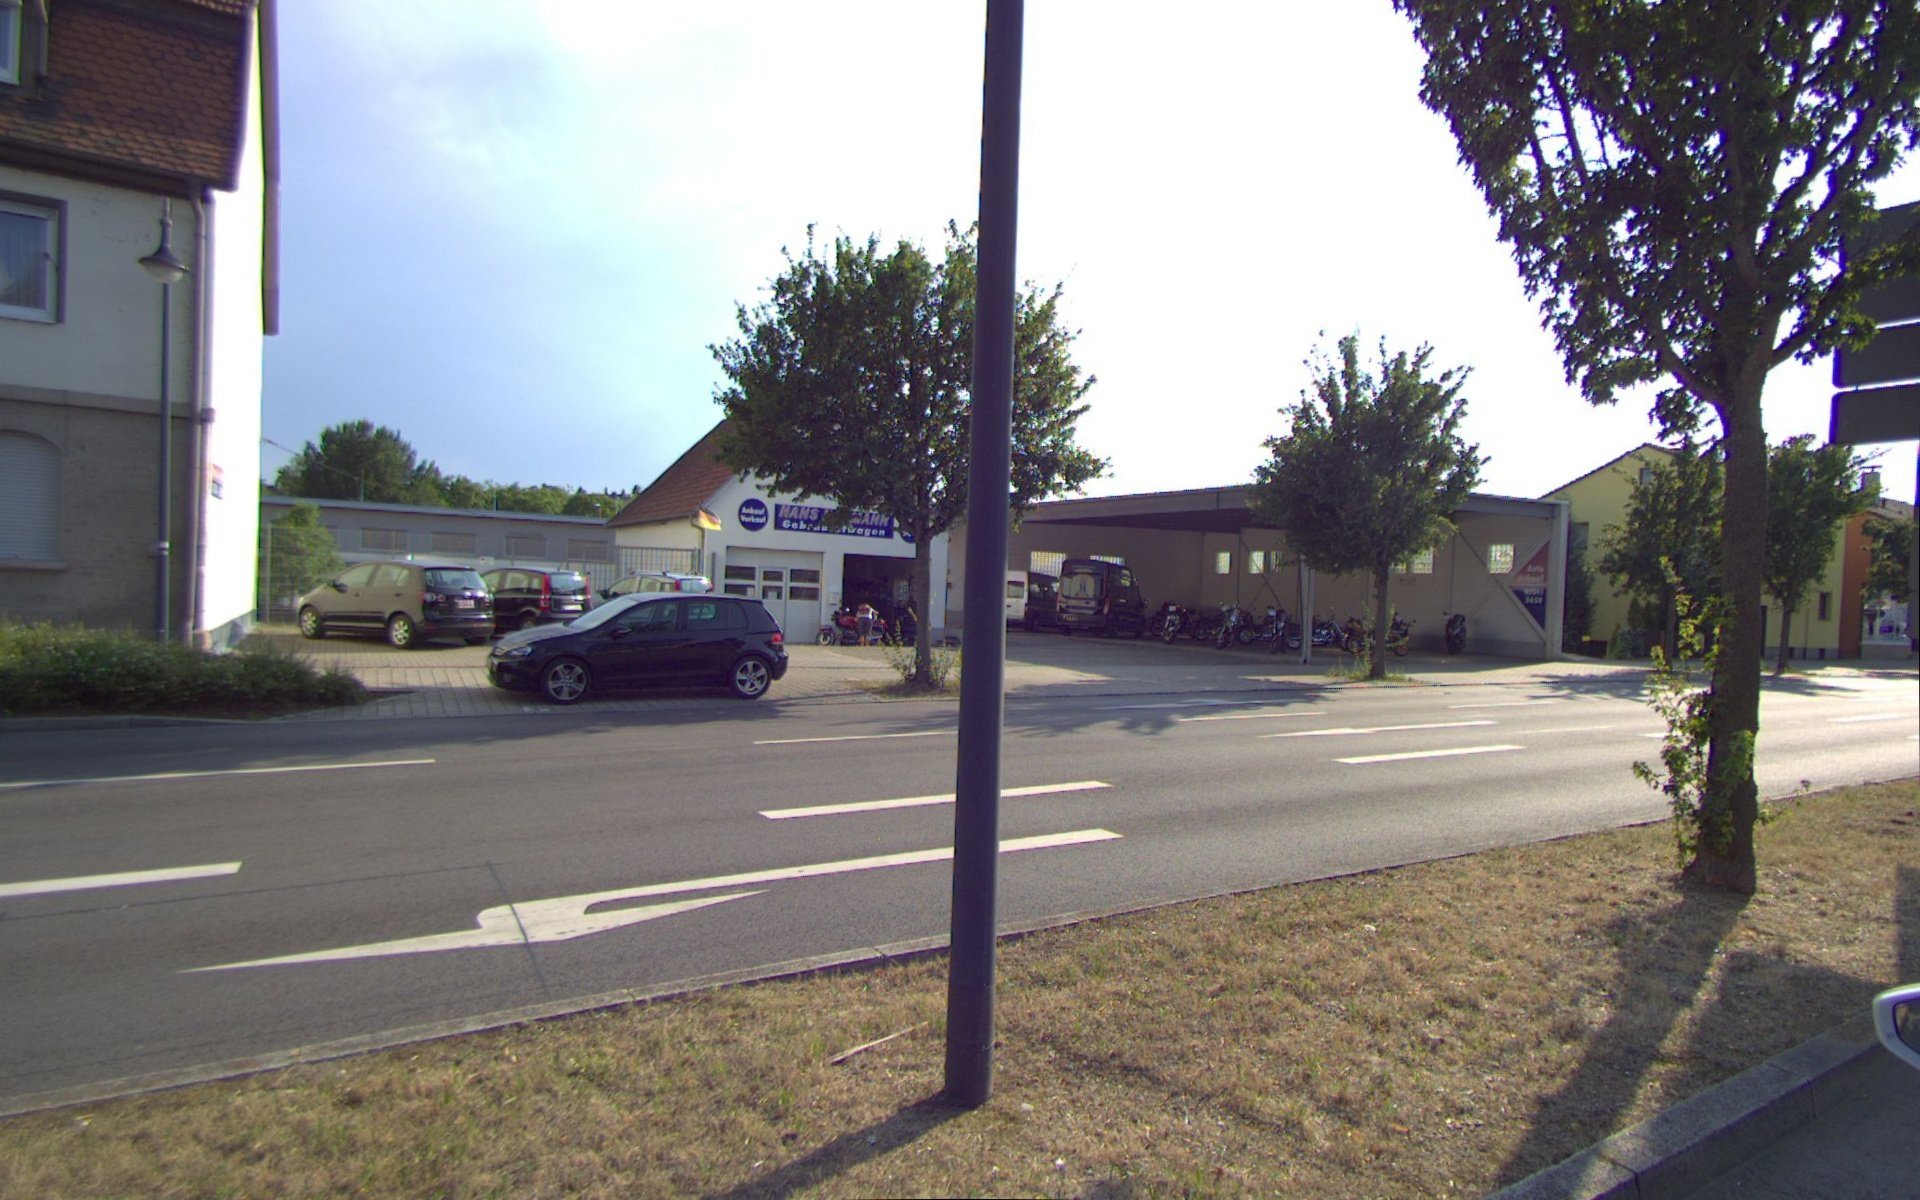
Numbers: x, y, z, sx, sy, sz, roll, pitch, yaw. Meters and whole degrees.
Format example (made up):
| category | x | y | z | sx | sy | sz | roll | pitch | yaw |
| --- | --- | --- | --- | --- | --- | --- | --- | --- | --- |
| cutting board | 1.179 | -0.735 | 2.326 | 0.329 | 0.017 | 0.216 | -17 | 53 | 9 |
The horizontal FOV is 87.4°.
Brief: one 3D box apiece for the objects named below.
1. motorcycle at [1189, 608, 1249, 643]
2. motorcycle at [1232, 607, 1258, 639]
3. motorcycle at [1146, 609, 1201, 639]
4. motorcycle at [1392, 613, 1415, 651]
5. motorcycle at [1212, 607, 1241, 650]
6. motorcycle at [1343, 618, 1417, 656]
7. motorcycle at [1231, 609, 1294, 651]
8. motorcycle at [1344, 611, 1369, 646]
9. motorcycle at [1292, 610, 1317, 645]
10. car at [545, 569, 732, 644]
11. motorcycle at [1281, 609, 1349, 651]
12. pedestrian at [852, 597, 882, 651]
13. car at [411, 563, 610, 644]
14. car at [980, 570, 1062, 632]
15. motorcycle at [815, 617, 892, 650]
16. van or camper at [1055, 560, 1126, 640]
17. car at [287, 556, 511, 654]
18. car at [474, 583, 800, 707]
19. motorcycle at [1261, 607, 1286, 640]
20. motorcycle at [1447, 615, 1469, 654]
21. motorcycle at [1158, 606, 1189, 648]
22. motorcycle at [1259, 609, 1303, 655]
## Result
| category | x | y | z | sx | sy | sz | roll | pitch | yaw |
| --- | --- | --- | --- | --- | --- | --- | --- | --- | --- |
| motorcycle | 10.036 | 0.994 | 38.980 | 2.112 | 1.275 | 0.647 | 2 | 0 | -1 |
| motorcycle | 12.219 | 0.971 | 43.012 | 0.553 | 1.325 | 2.087 | 2 | 0 | 29 |
| motorcycle | 8.756 | 0.976 | 41.260 | 2.112 | 1.138 | 0.563 | 2 | 0 | -1 |
| motorcycle | 16.213 | 1.162 | 36.703 | 0.553 | 1.325 | 2.087 | 2 | 0 | 29 |
| motorcycle | 8.576 | 0.896 | 32.278 | 0.637 | 1.329 | 2.007 | 2 | 0 | 22 |
| motorcycle | 13.602 | 1.185 | 32.543 | 2.112 | 1.139 | 0.631 | 2 | 0 | -1 |
| motorcycle | 11.077 | 1.106 | 36.813 | 2.112 | 1.468 | 0.594 | 2 | 0 | -1 |
| motorcycle | 15.378 | 1.093 | 38.937 | 0.612 | 1.325 | 2.087 | 2 | 0 | 29 |
| motorcycle | 13.743 | 1.080 | 40.066 | 0.573 | 1.325 | 2.087 | 2 | 0 | 29 |
| car | -7.430 | 0.126 | 23.196 | 3.924 | 1.572 | 1.766 | 2 | 0 | 25 |
| motorcycle | 12.233 | 1.030 | 34.595 | 2.112 | 1.347 | 0.563 | 2 | 0 | -1 |
| pedestrian | -2.690 | 0.690 | 28.937 | 0.664 | 1.543 | 0.649 | 2 | 0 | -24 |
| car | -9.675 | 0.058 | 21.610 | 3.924 | 1.572 | 1.766 | 2 | 0 | 25 |
| car | 2.511 | 0.071 | 40.058 | 2.157 | 2.279 | 4.387 | 2 | 0 | 18 |
| motorcycle | -3.102 | 0.983 | 29.419 | 2.183 | 0.932 | 0.504 | 2 | 0 | -28 |
| van or camper | 4.952 | 0.018 | 37.547 | 1.960 | 2.716 | 5.041 | 2 | 0 | 14 |
| car | -10.735 | 0.049 | 19.210 | 3.924 | 1.573 | 1.766 | 3 | 2 | 25 |
| car | -4.614 | 0.617 | 14.502 | 4.148 | 1.463 | 1.824 | 2 | 3 | -32 |
| motorcycle | 13.256 | 0.981 | 42.457 | 0.553 | 1.325 | 2.087 | 2 | 0 | 29 |
| motorcycle | 17.309 | 1.186 | 34.892 | 0.553 | 1.325 | 2.112 | 2 | 0 | 29 |
| motorcycle | 7.151 | 0.886 | 33.575 | 0.637 | 1.329 | 2.007 | 2 | 0 | 22 |
| motorcycle | 9.795 | 0.975 | 30.588 | 0.658 | 1.329 | 2.001 | 2 | 0 | 35 |
